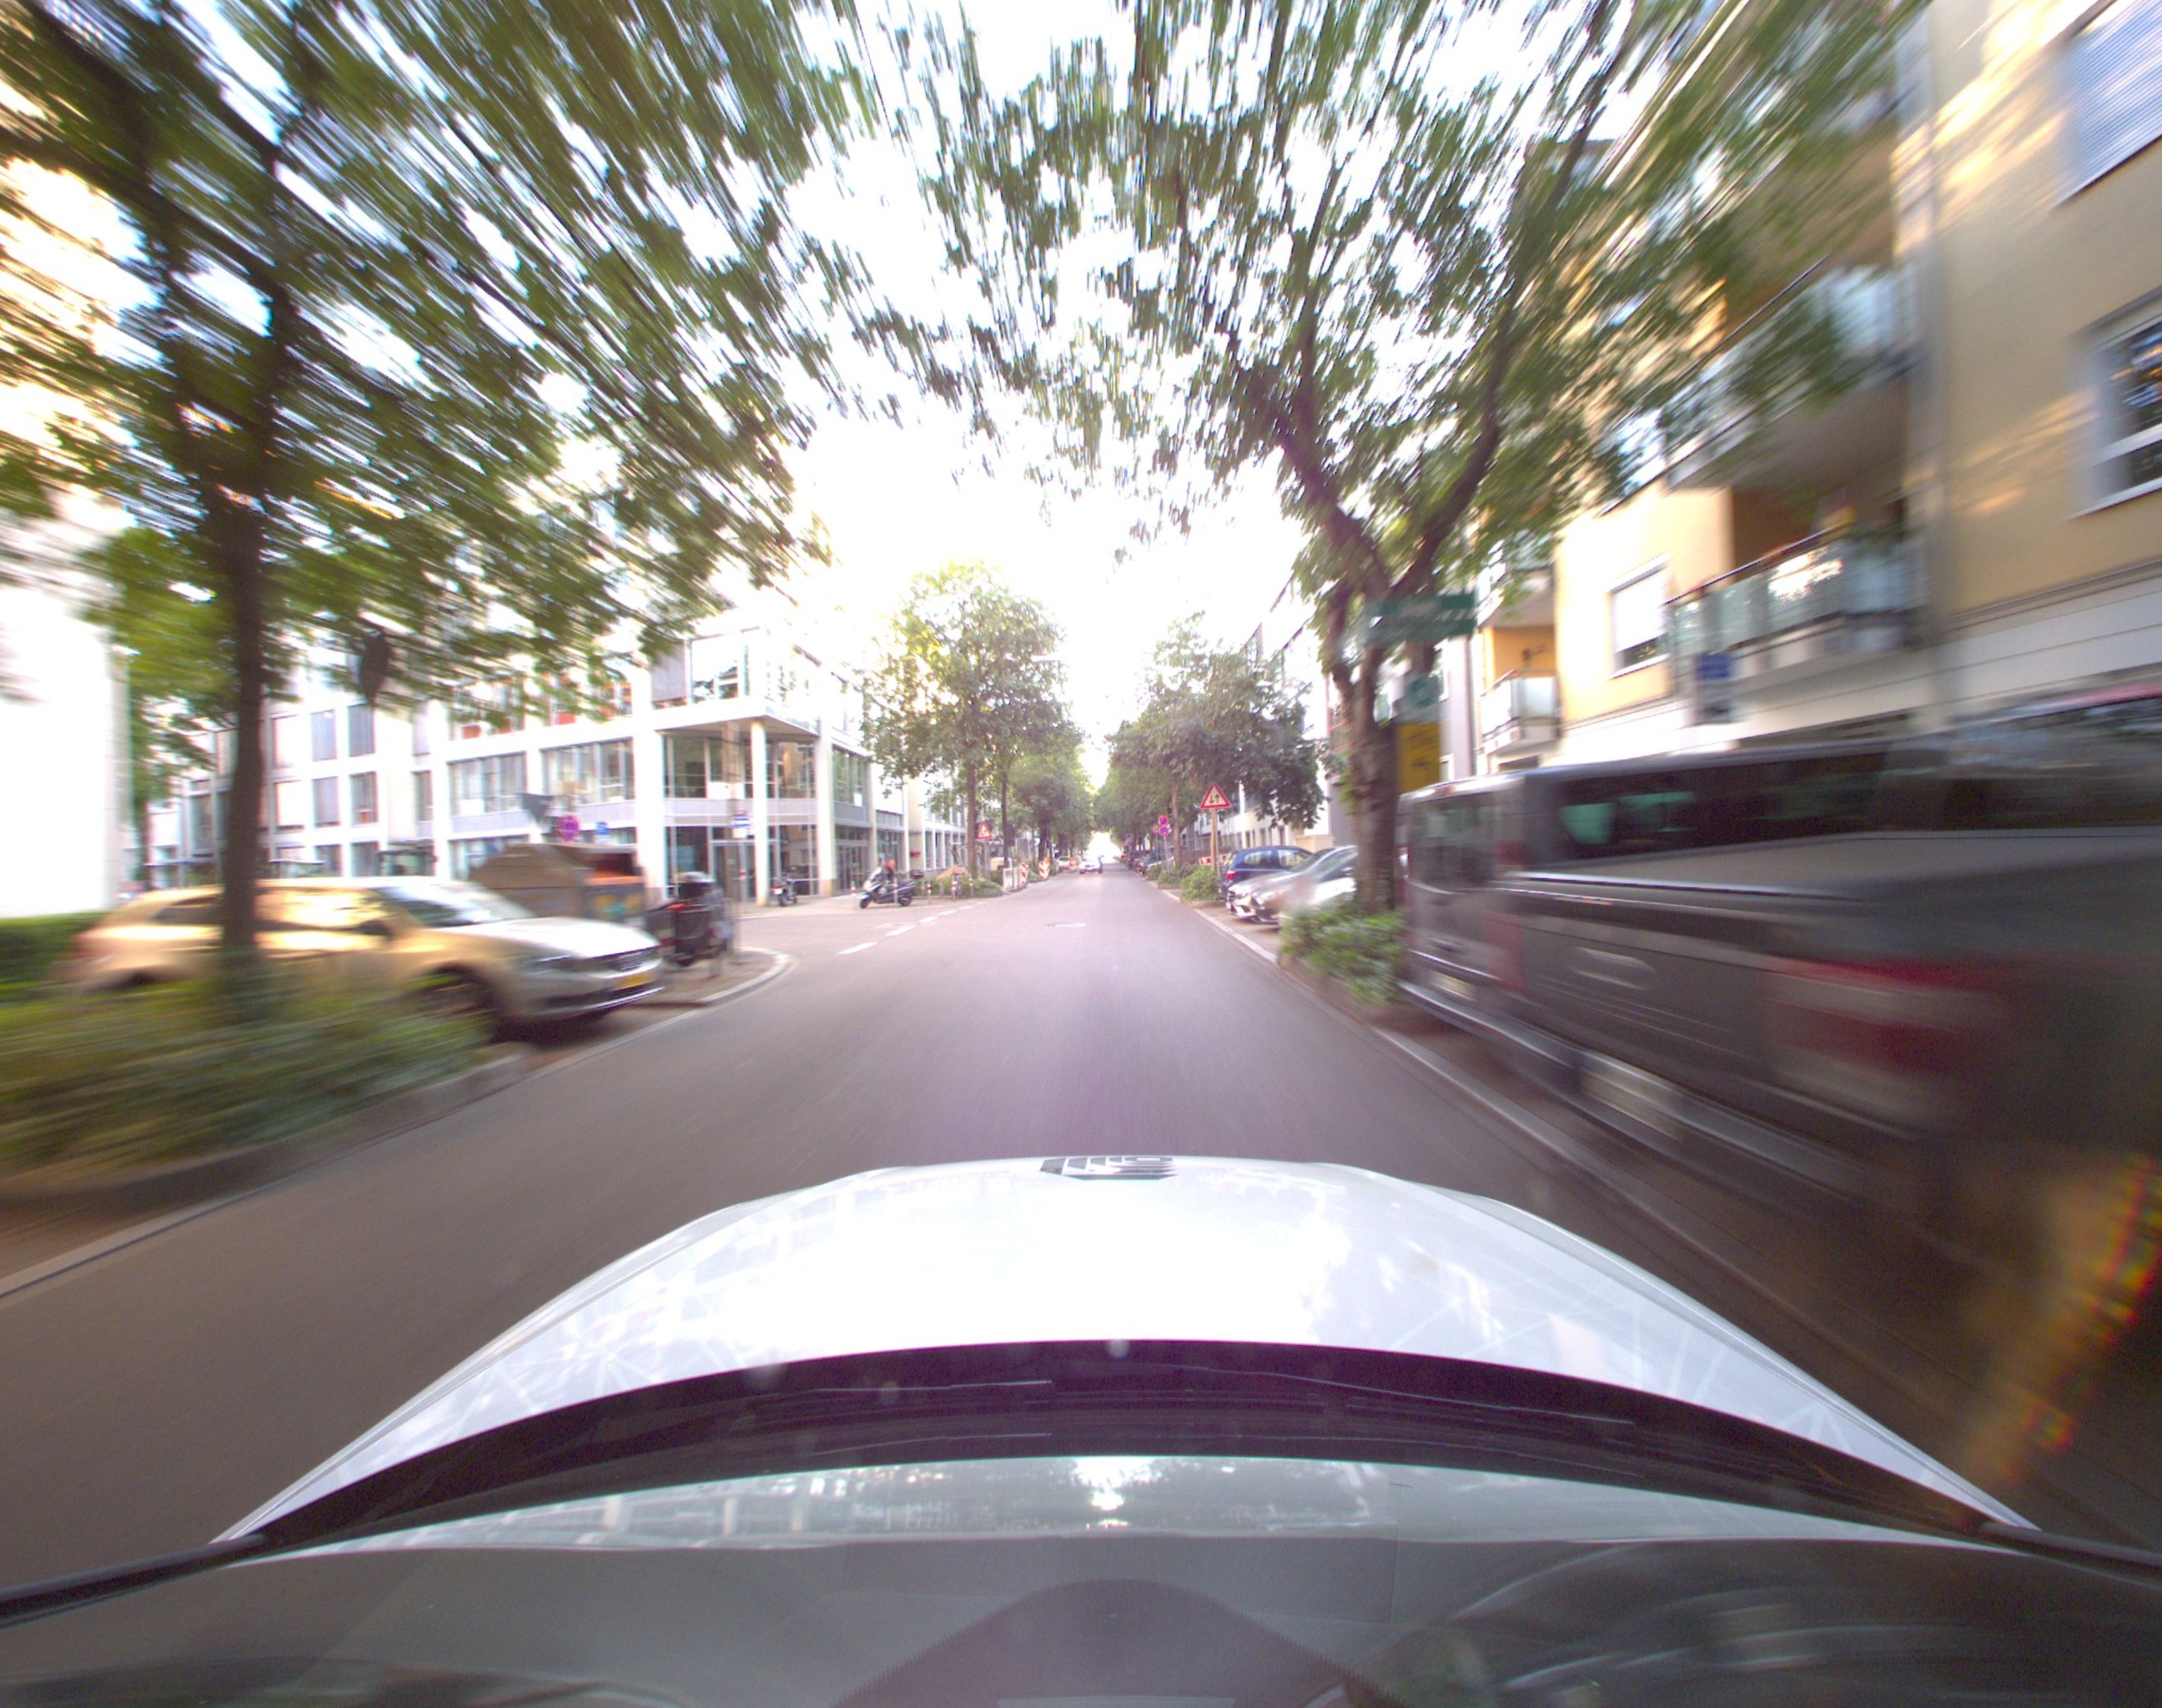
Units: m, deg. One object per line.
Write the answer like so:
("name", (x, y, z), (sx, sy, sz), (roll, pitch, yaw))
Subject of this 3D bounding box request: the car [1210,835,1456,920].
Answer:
("car", (5.193, 0.469, 17.273), (4.605, 1.571, 2.011), (-2, 0, 1))

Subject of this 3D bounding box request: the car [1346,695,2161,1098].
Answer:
("car", (4.500, 0.215, 5.606), (4.585, 2.066, 2.197), (-2, 0, 0))

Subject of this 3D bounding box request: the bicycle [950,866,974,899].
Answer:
("bicycle", (-4.553, 1.084, 31.190), (0.681, 1.152, 1.978), (-2, 0, -3))

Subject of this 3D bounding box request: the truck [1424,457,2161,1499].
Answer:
("truck", (4.624, 0.190, 2.859), (5.865, 2.311, 2.213), (-2, 0, 2))

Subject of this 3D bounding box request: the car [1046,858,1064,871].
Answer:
("car", (-2.902, 1.143, 90.452), (1.989, 1.288, 3.996), (-2, 0, -3))

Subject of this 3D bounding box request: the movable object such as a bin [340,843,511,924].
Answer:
("movable object such as a bin", (-23.835, 1.070, 29.614), (5.581, 2.692, 2.297), (-2, 0, 22))

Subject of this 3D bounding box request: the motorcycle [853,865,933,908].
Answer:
("motorcycle", (-6.353, 1.080, 27.546), (2.368, 1.281, 1.055), (-3, 0, -39))

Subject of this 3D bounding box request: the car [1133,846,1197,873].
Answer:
("car", (6.490, 0.400, 63.262), (4.722, 2.013, 2.000), (-1, 0, 1))

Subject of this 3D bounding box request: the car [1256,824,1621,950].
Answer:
("car", (5.177, 0.456, 12.274), (4.607, 1.502, 1.961), (-3, 0, 0))

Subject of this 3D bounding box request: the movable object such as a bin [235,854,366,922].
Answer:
("movable object such as a bin", (-31.615, 1.363, 33.021), (4.048, 2.540, 2.297), (-2, 0, 22))

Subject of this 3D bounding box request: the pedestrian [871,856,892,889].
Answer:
("pedestrian", (-9.430, 0.873, 38.487), (0.767, 1.536, 0.643), (-2, 0, 1))

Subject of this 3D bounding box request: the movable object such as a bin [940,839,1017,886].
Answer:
("movable object such as a bin", (-5.699, 0.436, 45.754), (4.038, 2.383, 2.780), (-2, 0, -4))

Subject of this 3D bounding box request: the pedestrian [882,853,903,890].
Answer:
("pedestrian", (-8.788, 0.818, 38.013), (0.736, 1.690, 0.607), (-2, 0, 3))

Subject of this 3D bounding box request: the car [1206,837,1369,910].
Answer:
("car", (4.967, 0.461, 19.940), (3.526, 1.564, 1.832), (-2, 0, 1))

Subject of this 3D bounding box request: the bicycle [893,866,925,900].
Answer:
("bicycle", (-6.582, 1.093, 31.209), (0.680, 1.152, 1.982), (-2, 0, 3))

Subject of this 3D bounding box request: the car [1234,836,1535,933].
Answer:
("car", (5.343, 0.530, 14.874), (4.763, 1.520, 1.993), (-2, 0, 3))

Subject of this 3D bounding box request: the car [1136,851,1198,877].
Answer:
("car", (5.698, 0.659, 54.276), (3.970, 1.585, 2.002), (-2, 0, 3))

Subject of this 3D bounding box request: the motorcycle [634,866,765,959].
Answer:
("motorcycle", (-6.371, 0.943, 13.558), (2.225, 1.420, 0.858), (-2, 0, 32))

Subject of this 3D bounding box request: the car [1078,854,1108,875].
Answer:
("car", (0.960, 0.843, 68.988), (2.007, 1.613, 4.111), (-2, 0, -6))

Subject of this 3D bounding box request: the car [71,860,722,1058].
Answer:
("car", (-6.270, 0.905, 7.884), (4.599, 1.552, 2.077), (-2, 0, 4))

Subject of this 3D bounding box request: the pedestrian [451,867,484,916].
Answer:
("pedestrian", (-24.084, 1.456, 31.959), (0.895, 1.851, 0.865), (-2, 0, -45))

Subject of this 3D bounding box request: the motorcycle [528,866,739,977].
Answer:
("motorcycle", (-6.259, 0.926, 11.479), (2.442, 1.420, 0.912), (-2, 0, 3))

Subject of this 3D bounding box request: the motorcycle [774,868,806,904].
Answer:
("motorcycle", (-10.426, 1.115, 29.240), (0.556, 1.172, 2.302), (-2, 0, -7))

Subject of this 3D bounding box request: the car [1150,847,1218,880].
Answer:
("car", (6.230, 0.556, 49.685), (3.968, 1.805, 2.003), (-2, 0, 5))

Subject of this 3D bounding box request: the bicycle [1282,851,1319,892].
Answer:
("bicycle", (7.061, 0.539, 26.271), (0.824, 1.235, 1.806), (-2, 0, 6))
